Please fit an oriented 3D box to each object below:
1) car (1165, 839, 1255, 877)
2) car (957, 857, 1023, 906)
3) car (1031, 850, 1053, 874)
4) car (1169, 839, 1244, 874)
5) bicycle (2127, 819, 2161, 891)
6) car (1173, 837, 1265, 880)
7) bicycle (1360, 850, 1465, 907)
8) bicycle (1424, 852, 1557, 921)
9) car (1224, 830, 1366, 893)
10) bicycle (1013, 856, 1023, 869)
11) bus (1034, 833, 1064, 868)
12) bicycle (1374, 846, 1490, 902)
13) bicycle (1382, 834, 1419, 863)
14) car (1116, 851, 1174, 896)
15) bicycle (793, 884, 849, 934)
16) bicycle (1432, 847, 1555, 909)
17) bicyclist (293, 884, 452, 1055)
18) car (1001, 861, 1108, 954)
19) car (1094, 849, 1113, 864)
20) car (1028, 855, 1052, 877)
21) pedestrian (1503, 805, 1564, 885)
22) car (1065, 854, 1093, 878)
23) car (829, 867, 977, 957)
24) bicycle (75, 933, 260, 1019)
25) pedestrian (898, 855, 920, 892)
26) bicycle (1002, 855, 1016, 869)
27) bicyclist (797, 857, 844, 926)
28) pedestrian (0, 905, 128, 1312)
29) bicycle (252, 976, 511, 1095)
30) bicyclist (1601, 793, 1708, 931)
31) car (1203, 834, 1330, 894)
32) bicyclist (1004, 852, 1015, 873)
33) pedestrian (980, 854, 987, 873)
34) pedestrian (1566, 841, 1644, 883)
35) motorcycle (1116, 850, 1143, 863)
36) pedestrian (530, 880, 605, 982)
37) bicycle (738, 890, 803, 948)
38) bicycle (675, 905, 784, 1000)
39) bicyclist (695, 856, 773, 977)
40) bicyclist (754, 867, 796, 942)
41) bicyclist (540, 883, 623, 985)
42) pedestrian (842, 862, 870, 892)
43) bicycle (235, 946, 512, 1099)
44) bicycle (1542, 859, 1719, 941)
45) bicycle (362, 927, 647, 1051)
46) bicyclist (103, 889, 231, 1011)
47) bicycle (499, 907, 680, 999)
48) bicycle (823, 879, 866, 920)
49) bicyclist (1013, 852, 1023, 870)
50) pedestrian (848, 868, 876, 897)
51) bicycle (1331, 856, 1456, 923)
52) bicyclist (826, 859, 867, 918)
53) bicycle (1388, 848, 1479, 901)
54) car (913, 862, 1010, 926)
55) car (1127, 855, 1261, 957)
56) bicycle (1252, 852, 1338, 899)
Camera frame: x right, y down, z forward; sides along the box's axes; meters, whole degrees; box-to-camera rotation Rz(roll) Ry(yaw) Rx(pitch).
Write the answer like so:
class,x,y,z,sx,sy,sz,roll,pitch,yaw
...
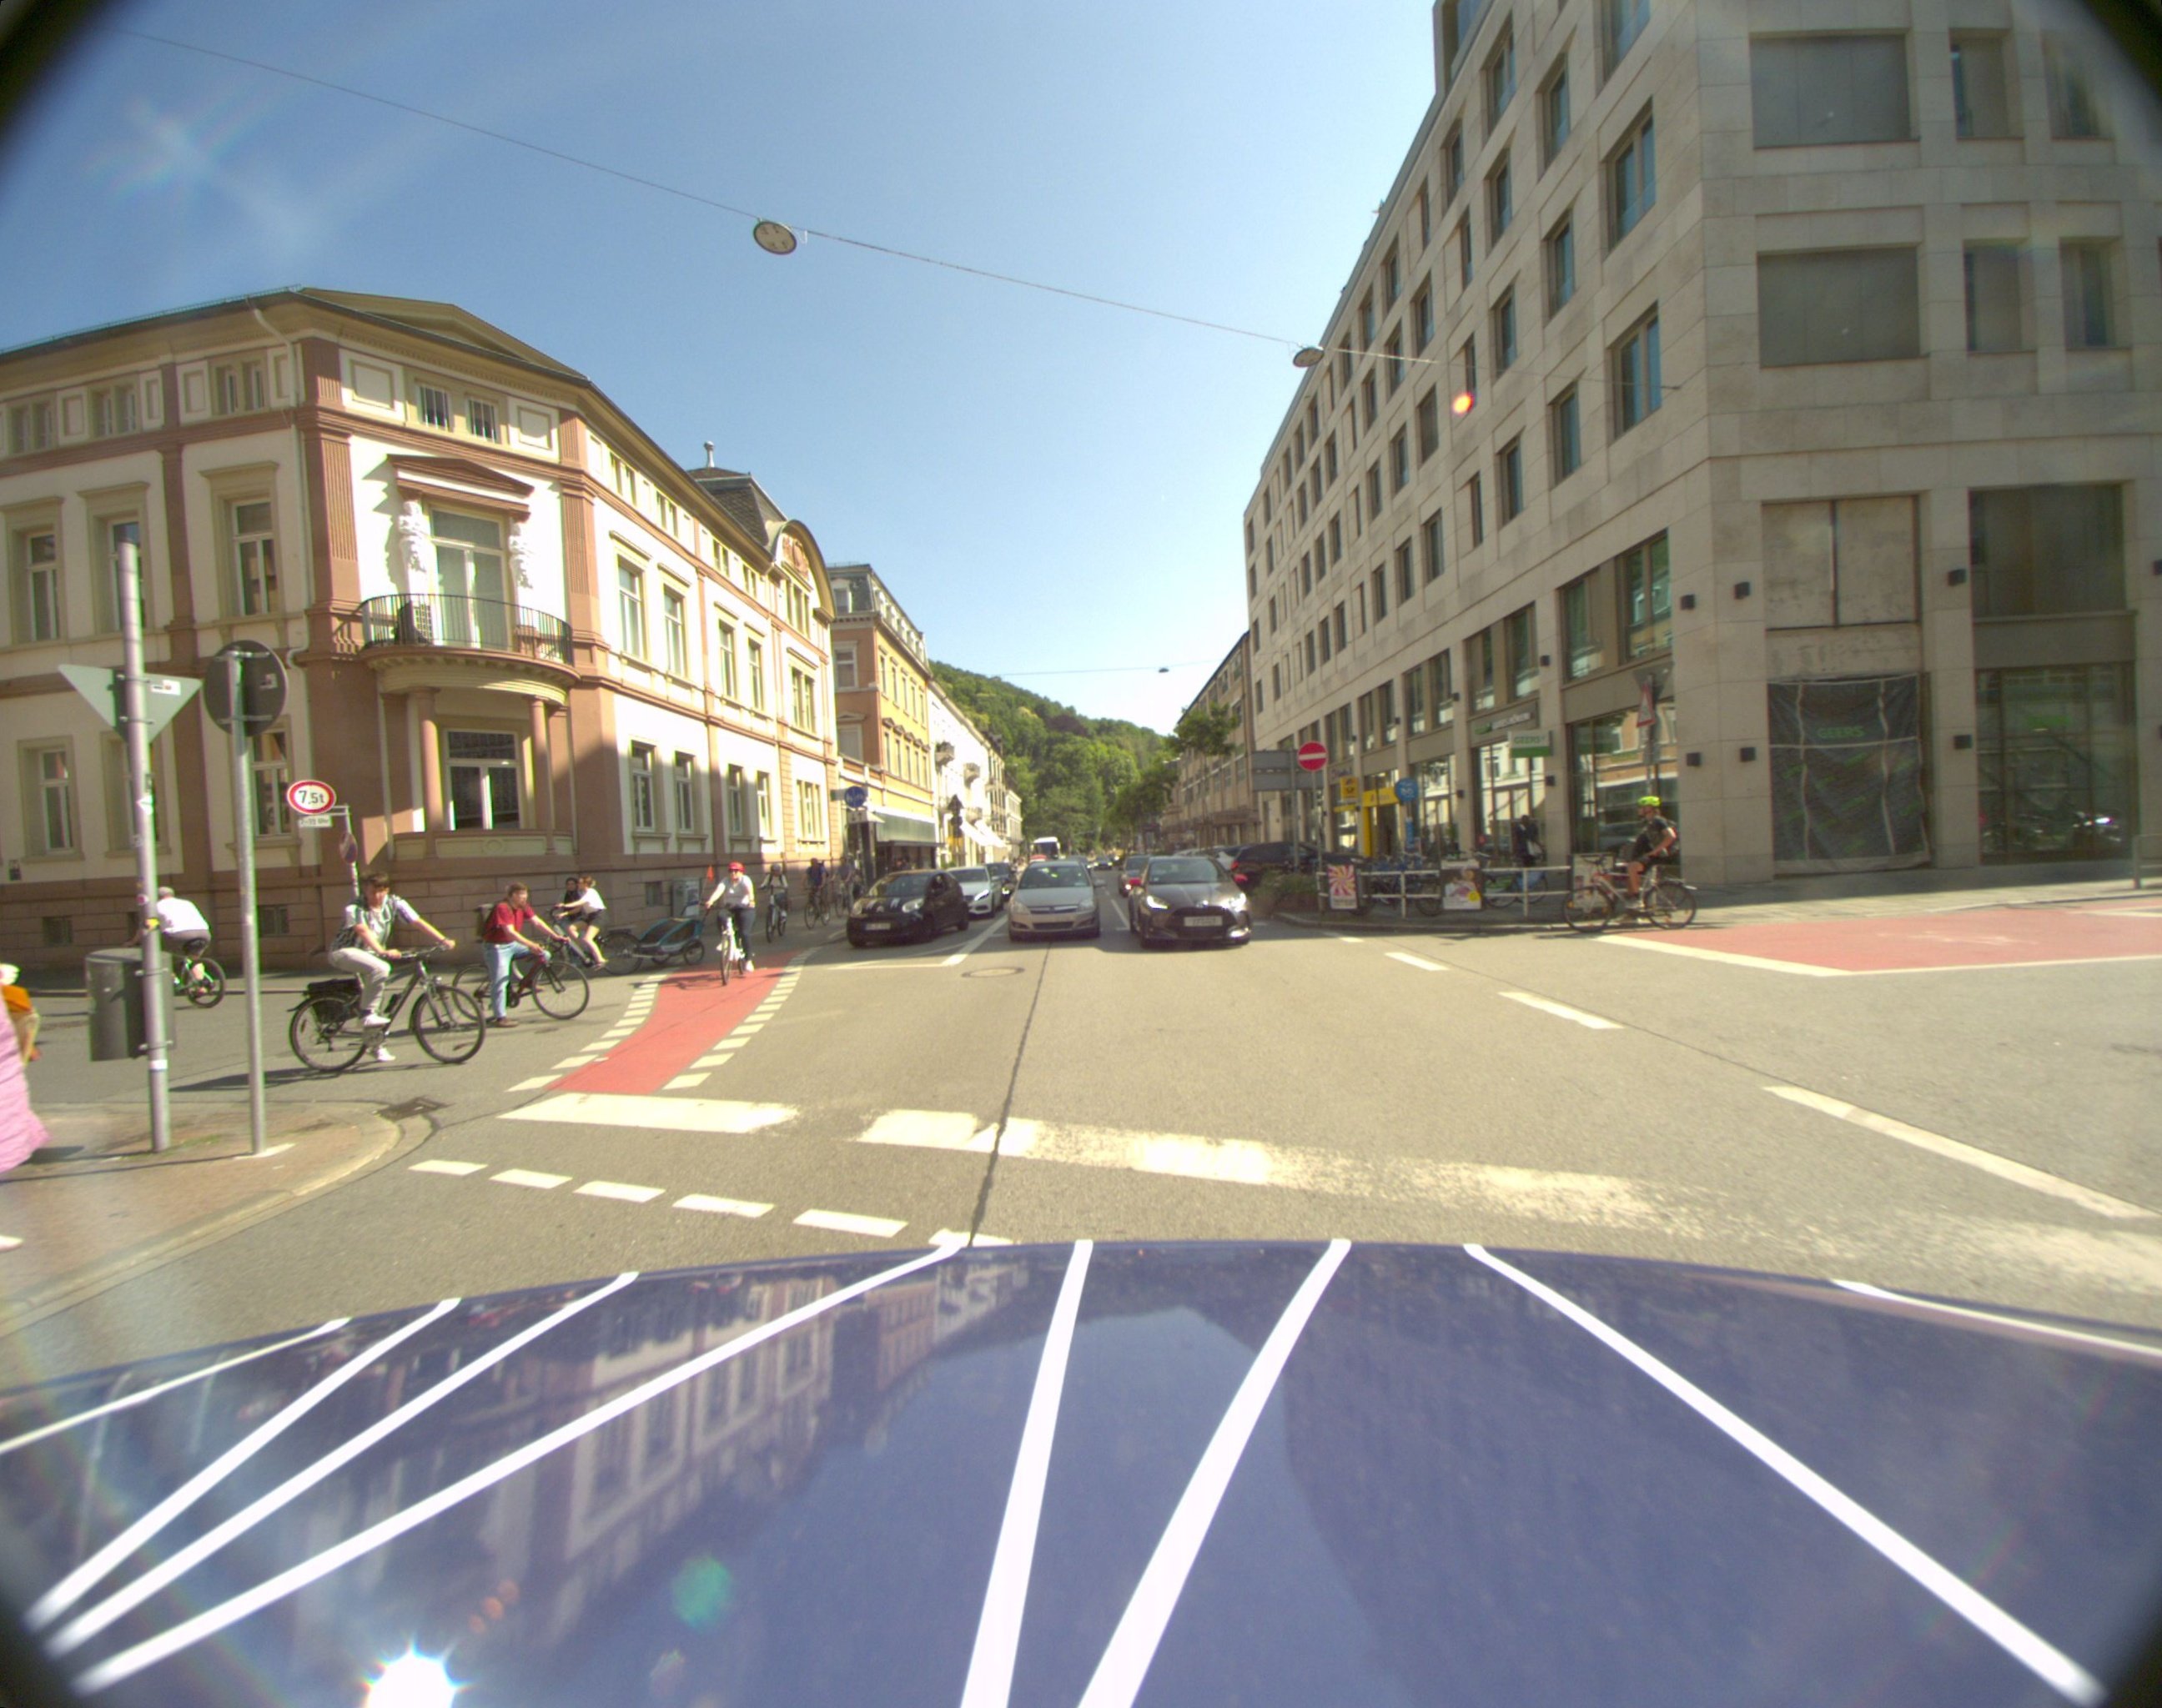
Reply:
class,x,y,z,sx,sy,sz,roll,pitch,yaw
car,7.109,0.207,41.758,4.493,1.424,1.865,-8,0,20
car,-3.419,0.985,29.258,1.891,1.483,4.289,-6,1,0
car,-3.516,0.752,68.839,1.703,1.901,4.606,-7,0,-2
car,7.342,0.131,44.751,3.997,1.519,1.819,-6,2,0
bicycle,18.397,-0.025,12.269,2.063,1.121,0.639,-3,4,1
car,6.934,0.215,38.253,4.029,1.584,1.822,-8,1,33
bicycle,7.431,0.562,17.098,2.060,1.120,0.563,-5,0,25
bicycle,7.512,0.584,13.995,2.059,1.162,0.606,-2,2,37
car,6.866,0.250,24.347,4.026,1.593,1.961,-5,2,23
bicycle,-5.680,0.754,68.790,0.596,1.121,2.093,-1,2,2
bus,-3.455,-0.438,84.729,2.924,3.516,12.496,-2,1,-1
bicycle,8.106,0.476,17.634,2.324,1.120,0.563,-5,1,25
bicycle,12.951,-0.216,30.855,0.497,1.101,2.161,-5,1,0
car,2.282,0.665,28.086,1.734,1.389,4.106,-4,0,0
bicycle,-6.719,1.388,19.752,0.664,1.111,1.992,-2,1,2
bicycle,8.171,0.491,15.129,2.059,1.120,0.648,-3,1,27
bicyclist,-6.226,0.994,6.704,0.861,1.403,0.501,-3,1,1
car,-0.530,0.959,15.558,1.791,1.484,4.367,-3,1,-2
car,2.245,0.233,76.030,1.734,1.389,4.106,-3,0,1
car,-3.380,0.971,63.135,1.799,1.516,4.262,-6,1,-2
pedestrian,11.229,-0.230,18.891,0.840,1.868,0.844,-7,1,1
car,-0.096,0.775,50.633,1.775,1.469,4.107,-1,-1,0
car,-3.583,1.123,16.045,1.631,1.470,3.733,-4,1,10
bicycle,-12.995,1.724,10.829,2.075,1.120,0.573,-1,0,5
pedestrian,-8.761,0.987,38.764,0.840,1.781,0.767,-2,1,1
bicycle,-5.915,0.639,62.352,0.743,1.120,2.573,-1,1,2
bicyclist,-6.746,0.966,19.694,0.840,1.707,0.844,-2,1,1
pedestrian,-4.963,1.115,3.248,0.641,1.700,0.789,-1,3,-2
bicycle,-6.232,1.607,6.813,1.826,0.839,0.501,-4,1,1
bicyclist,8.582,0.113,11.418,0.843,1.949,1.017,-3,1,7
car,6.666,0.331,27.760,4.166,1.627,2.103,-7,1,9
bicyclist,-5.907,0.709,62.575,0.747,1.693,1.036,-2,1,1
pedestrian,-8.823,0.836,68.806,0.482,1.659,0.868,-3,1,0
pedestrian,12.580,0.196,18.276,1.252,0.920,0.841,-3,1,-1
motorcycle,5.287,0.276,83.533,0.980,1.343,3.095,-3,1,-43
pedestrian,-9.040,1.318,13.427,0.904,1.603,0.974,-3,4,-28
bicycle,-6.914,1.421,17.039,0.607,1.120,1.860,-1,1,2
bicycle,-5.198,1.421,11.409,0.737,1.120,2.033,-4,0,-4
bicyclist,-5.221,0.916,11.482,0.684,1.707,0.844,-4,2,-4
bicyclist,-6.909,1.122,17.197,0.516,1.626,0.844,-2,1,1
bicyclist,-8.025,1.263,12.235,0.747,1.564,0.845,-1,-1,1
pedestrian,-10.139,1.038,34.283,1.032,1.308,0.625,-3,1,0
bicycle,-6.274,1.481,6.791,1.844,1.120,0.666,-4,2,5
bicycle,8.279,0.682,11.528,1.990,1.120,0.799,-3,0,8
bicycle,-6.346,1.469,8.459,2.572,1.120,0.628,-3,0,-3
bicyclist,-13.003,1.347,10.829,1.157,1.652,0.573,-1,0,5
bicycle,-7.859,1.527,12.451,0.750,1.120,3.241,-1,-1,2
bicycle,-7.176,1.366,23.136,0.748,1.111,1.918,-1,0,-1
bicyclist,-5.694,0.624,68.701,0.747,1.564,0.844,-2,1,1
pedestrian,-10.097,1.326,35.086,1.088,1.308,0.625,0,1,0
bicycle,5.917,0.669,14.480,0.606,1.166,2.059,-6,2,-44
bicyclist,-7.119,1.020,23.090,0.910,1.707,0.844,-2,1,1
bicycle,8.395,0.491,18.125,1.862,1.120,0.485,-5,0,25
car,-3.306,1.046,21.984,1.957,1.417,4.885,-5,0,-1
car,1.786,0.792,13.293,1.868,1.469,4.107,-2,-1,2
bicycle,5.905,0.586,20.995,2.145,1.120,0.485,-5,0,2
